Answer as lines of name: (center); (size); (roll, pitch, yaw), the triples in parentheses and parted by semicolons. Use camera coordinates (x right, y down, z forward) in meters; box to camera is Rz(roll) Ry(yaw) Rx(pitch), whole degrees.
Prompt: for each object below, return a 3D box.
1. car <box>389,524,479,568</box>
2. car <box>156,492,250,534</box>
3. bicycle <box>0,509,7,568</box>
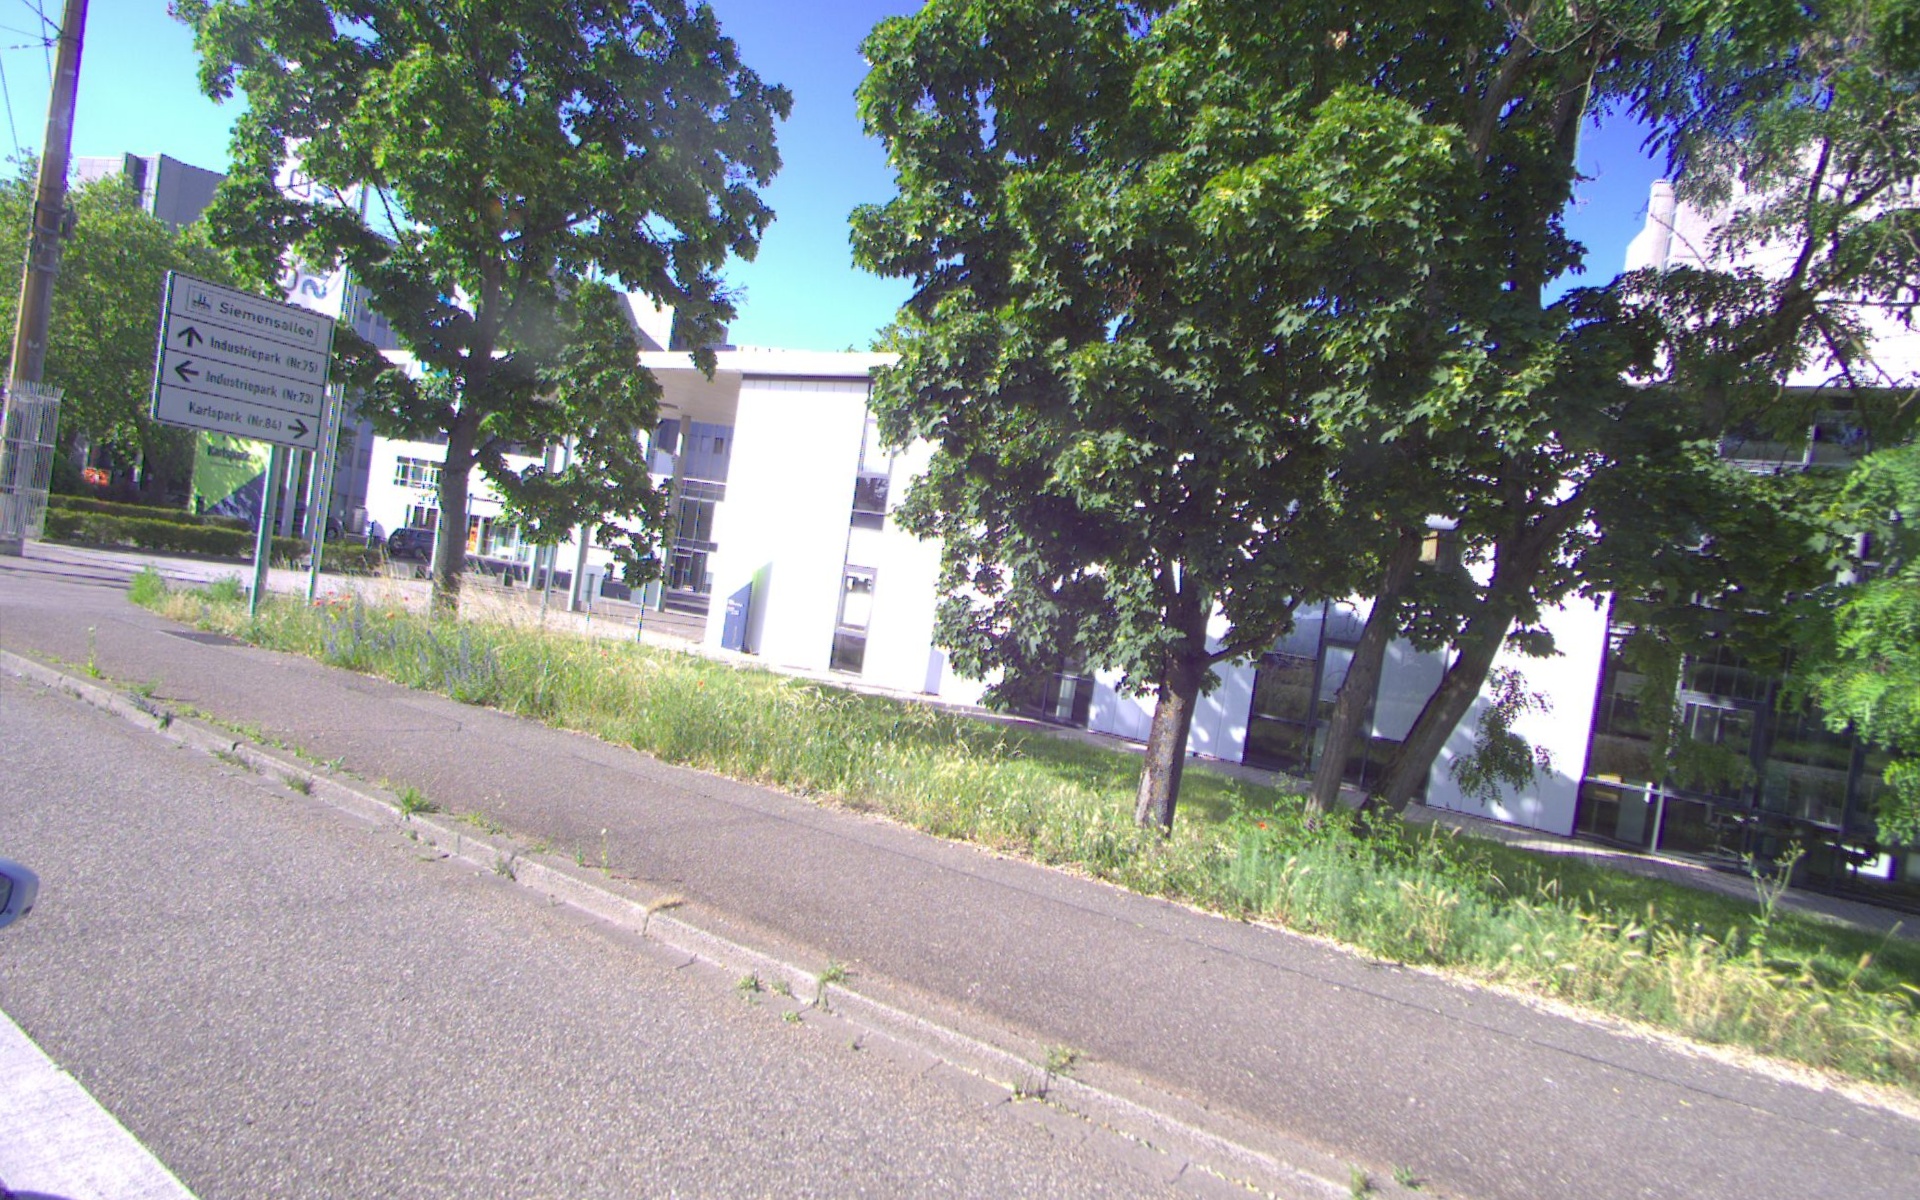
car: (-29.004, -2.944, 55.581); (1.865, 1.741, 4.000); (8, -1, 22)
car: (-45.566, -5.204, 60.662); (1.963, 1.778, 4.002); (8, -1, 19)
bicycle: (-17.521, -1.159, 17.048); (0.754, 1.010, 1.915); (7, 1, 42)
